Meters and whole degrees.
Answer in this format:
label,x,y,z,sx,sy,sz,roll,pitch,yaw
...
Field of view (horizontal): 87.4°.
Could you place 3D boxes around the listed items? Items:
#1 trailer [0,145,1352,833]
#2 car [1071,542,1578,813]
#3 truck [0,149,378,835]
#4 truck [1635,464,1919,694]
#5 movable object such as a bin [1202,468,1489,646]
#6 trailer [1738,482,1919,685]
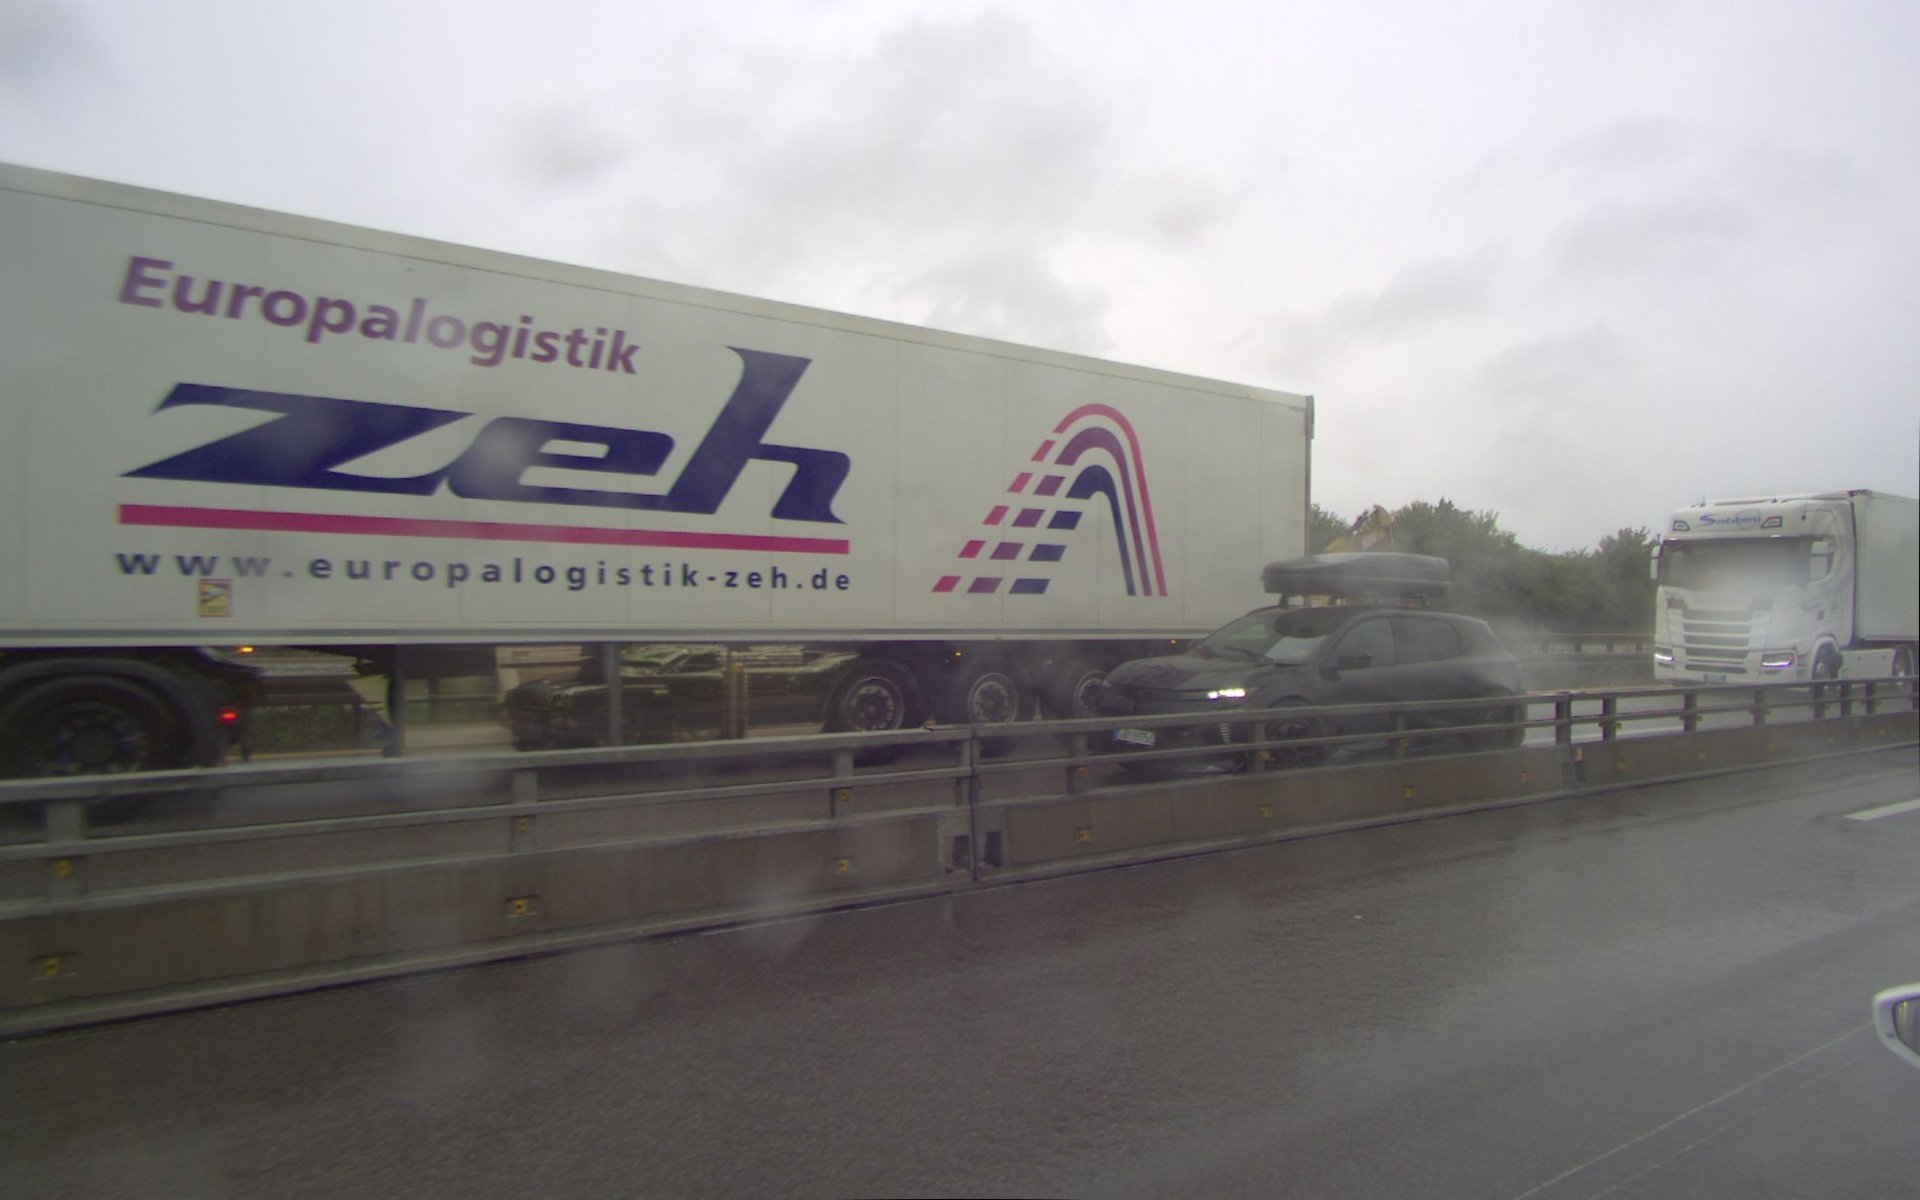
label,x,y,z,sx,sy,sz,roll,pitch,yaw
trailer,-1.164,-0.615,10.159,12.440,4.103,2.482,0,-1,-31
car,3.351,0.574,9.056,4.380,1.910,1.984,0,-1,-30
truck,-7.431,-0.653,6.417,6.372,4.085,2.472,0,1,-30
truck,17.546,-0.346,21.165,6.844,4.156,2.870,0,0,-30
movable object such as a bin,14.872,-1.372,38.448,10.912,5.994,4.152,2,1,-29
trailer,23.732,-0.286,24.820,12.076,4.144,2.893,0,0,-31
